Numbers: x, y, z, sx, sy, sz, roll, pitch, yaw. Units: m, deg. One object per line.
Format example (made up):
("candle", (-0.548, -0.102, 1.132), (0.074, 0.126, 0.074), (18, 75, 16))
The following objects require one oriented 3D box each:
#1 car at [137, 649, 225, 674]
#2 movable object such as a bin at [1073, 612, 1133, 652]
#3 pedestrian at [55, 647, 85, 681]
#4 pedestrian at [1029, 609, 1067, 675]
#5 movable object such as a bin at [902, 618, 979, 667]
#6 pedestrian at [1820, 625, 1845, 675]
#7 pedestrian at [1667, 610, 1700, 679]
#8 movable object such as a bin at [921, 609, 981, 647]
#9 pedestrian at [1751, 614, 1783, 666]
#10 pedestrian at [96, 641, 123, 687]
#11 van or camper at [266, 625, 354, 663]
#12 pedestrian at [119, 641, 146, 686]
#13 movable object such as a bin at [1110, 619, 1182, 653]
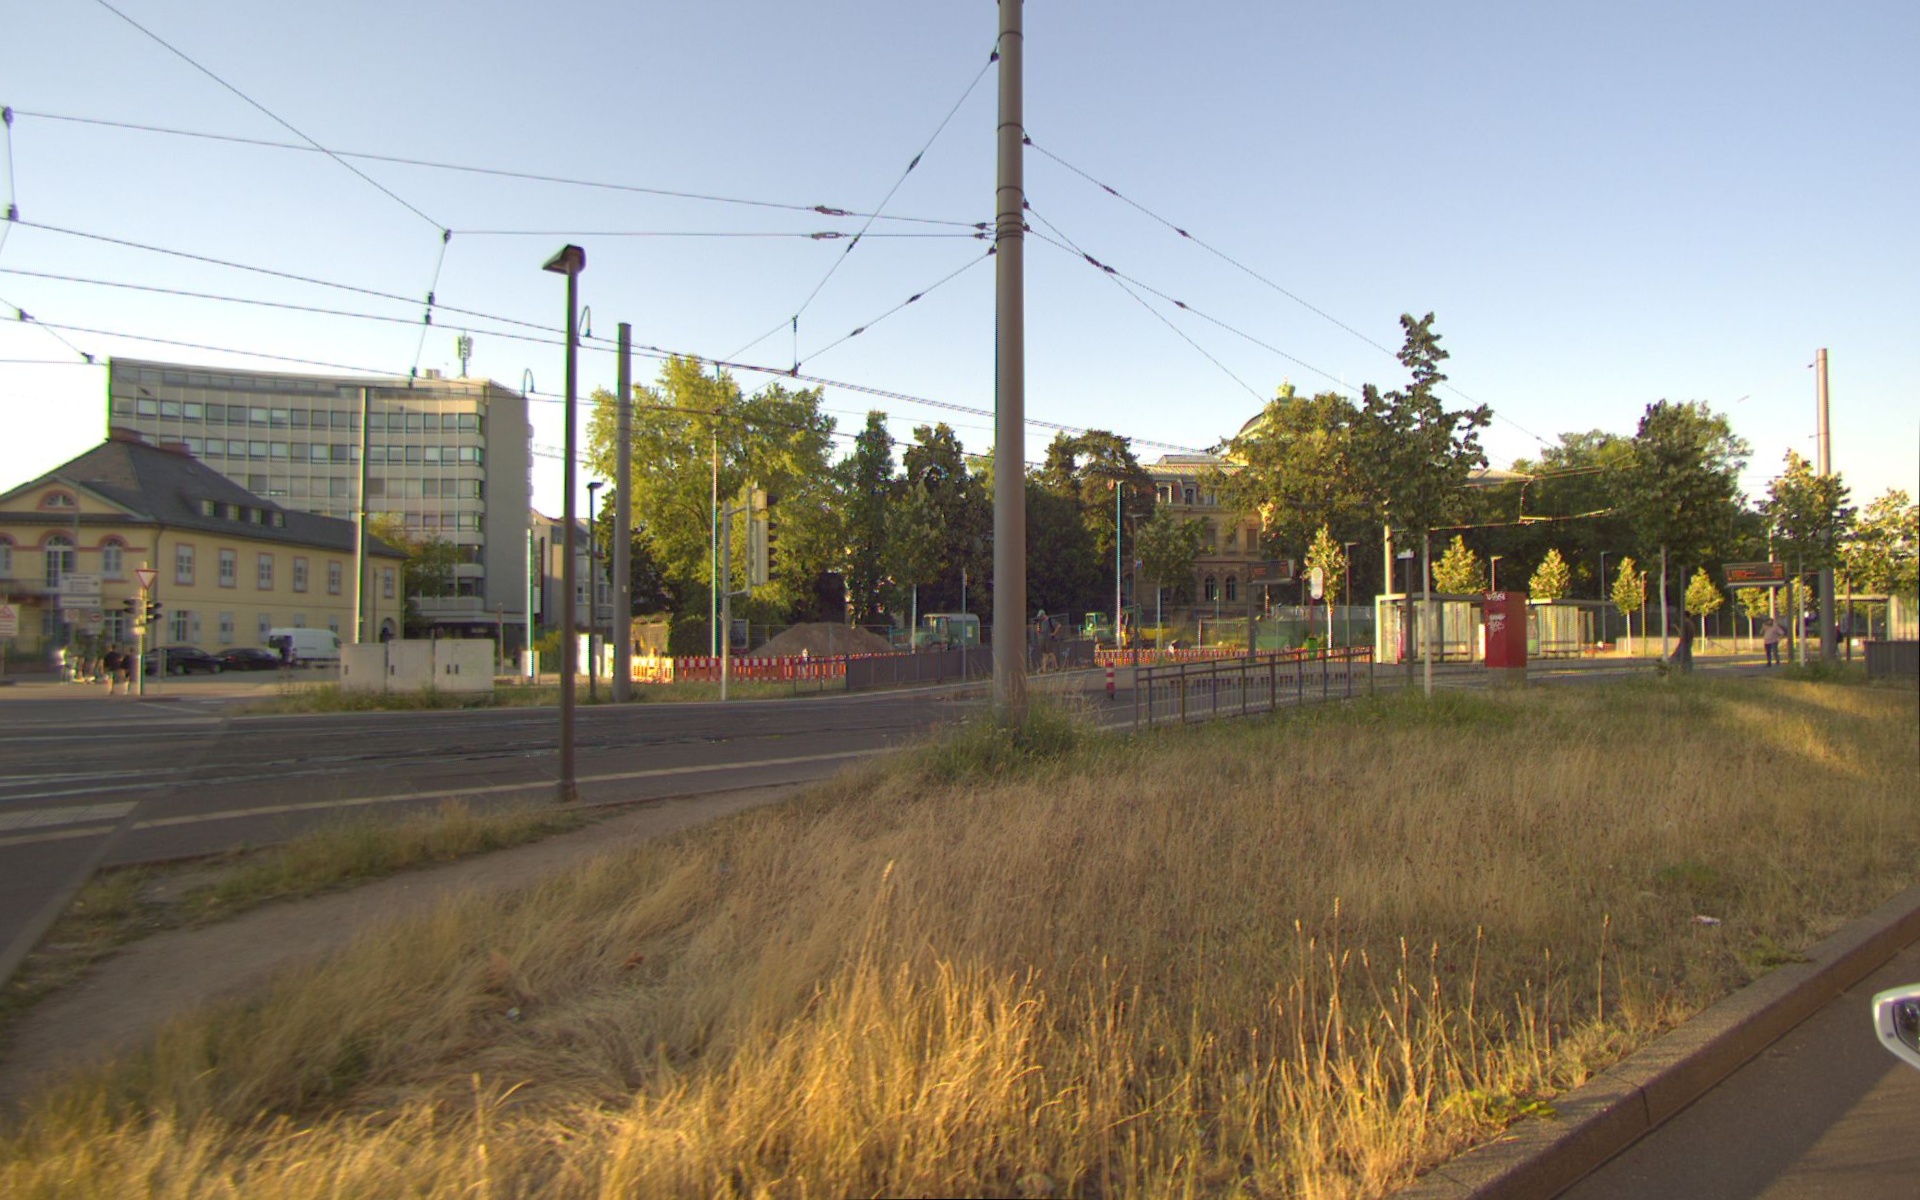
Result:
("car", (-42.005, 3.297, 54.252), (1.815, 1.293, 3.590), (0, -2, 2))
("movable object such as a bin", (10.205, 2.267, 71.409), (3.959, 2.742, 1.981), (2, -2, -35))
("pedestrian", (-36.458, 2.628, 41.154), (0.642, 1.359, 0.591), (1, -1, 8))
("pedestrian", (2.462, 1.167, 28.062), (0.809, 1.821, 0.690), (1, -2, -34))
("movable object such as a bin", (-1.131, 2.418, 57.695), (3.944, 2.742, 1.989), (1, -2, -24))
("pedestrian", (31.444, 1.796, 36.217), (0.627, 1.751, 0.633), (-2, -3, 41))
("pedestrian", (19.211, 1.175, 26.672), (0.618, 1.810, 0.469), (1, -2, -29))
("movable object such as a bin", (-0.663, 2.068, 73.533), (3.959, 2.742, 1.981), (2, -2, -35))
("pedestrian", (27.552, 1.369, 34.287), (0.632, 1.767, 0.718), (1, -2, -44))
("pedestrian", (-28.583, 2.147, 33.761), (0.584, 1.529, 0.649), (1, -3, -32))
("van or camper", (-41.689, 2.813, 64.600), (1.960, 2.332, 5.120), (0, -2, 6))
("pedestrian", (-28.003, 2.146, 34.007), (0.584, 1.529, 0.649), (1, -3, -32))
("movable object such as a bin", (12.678, 2.471, 68.407), (4.889, 2.276, 1.981), (2, -2, -35))
